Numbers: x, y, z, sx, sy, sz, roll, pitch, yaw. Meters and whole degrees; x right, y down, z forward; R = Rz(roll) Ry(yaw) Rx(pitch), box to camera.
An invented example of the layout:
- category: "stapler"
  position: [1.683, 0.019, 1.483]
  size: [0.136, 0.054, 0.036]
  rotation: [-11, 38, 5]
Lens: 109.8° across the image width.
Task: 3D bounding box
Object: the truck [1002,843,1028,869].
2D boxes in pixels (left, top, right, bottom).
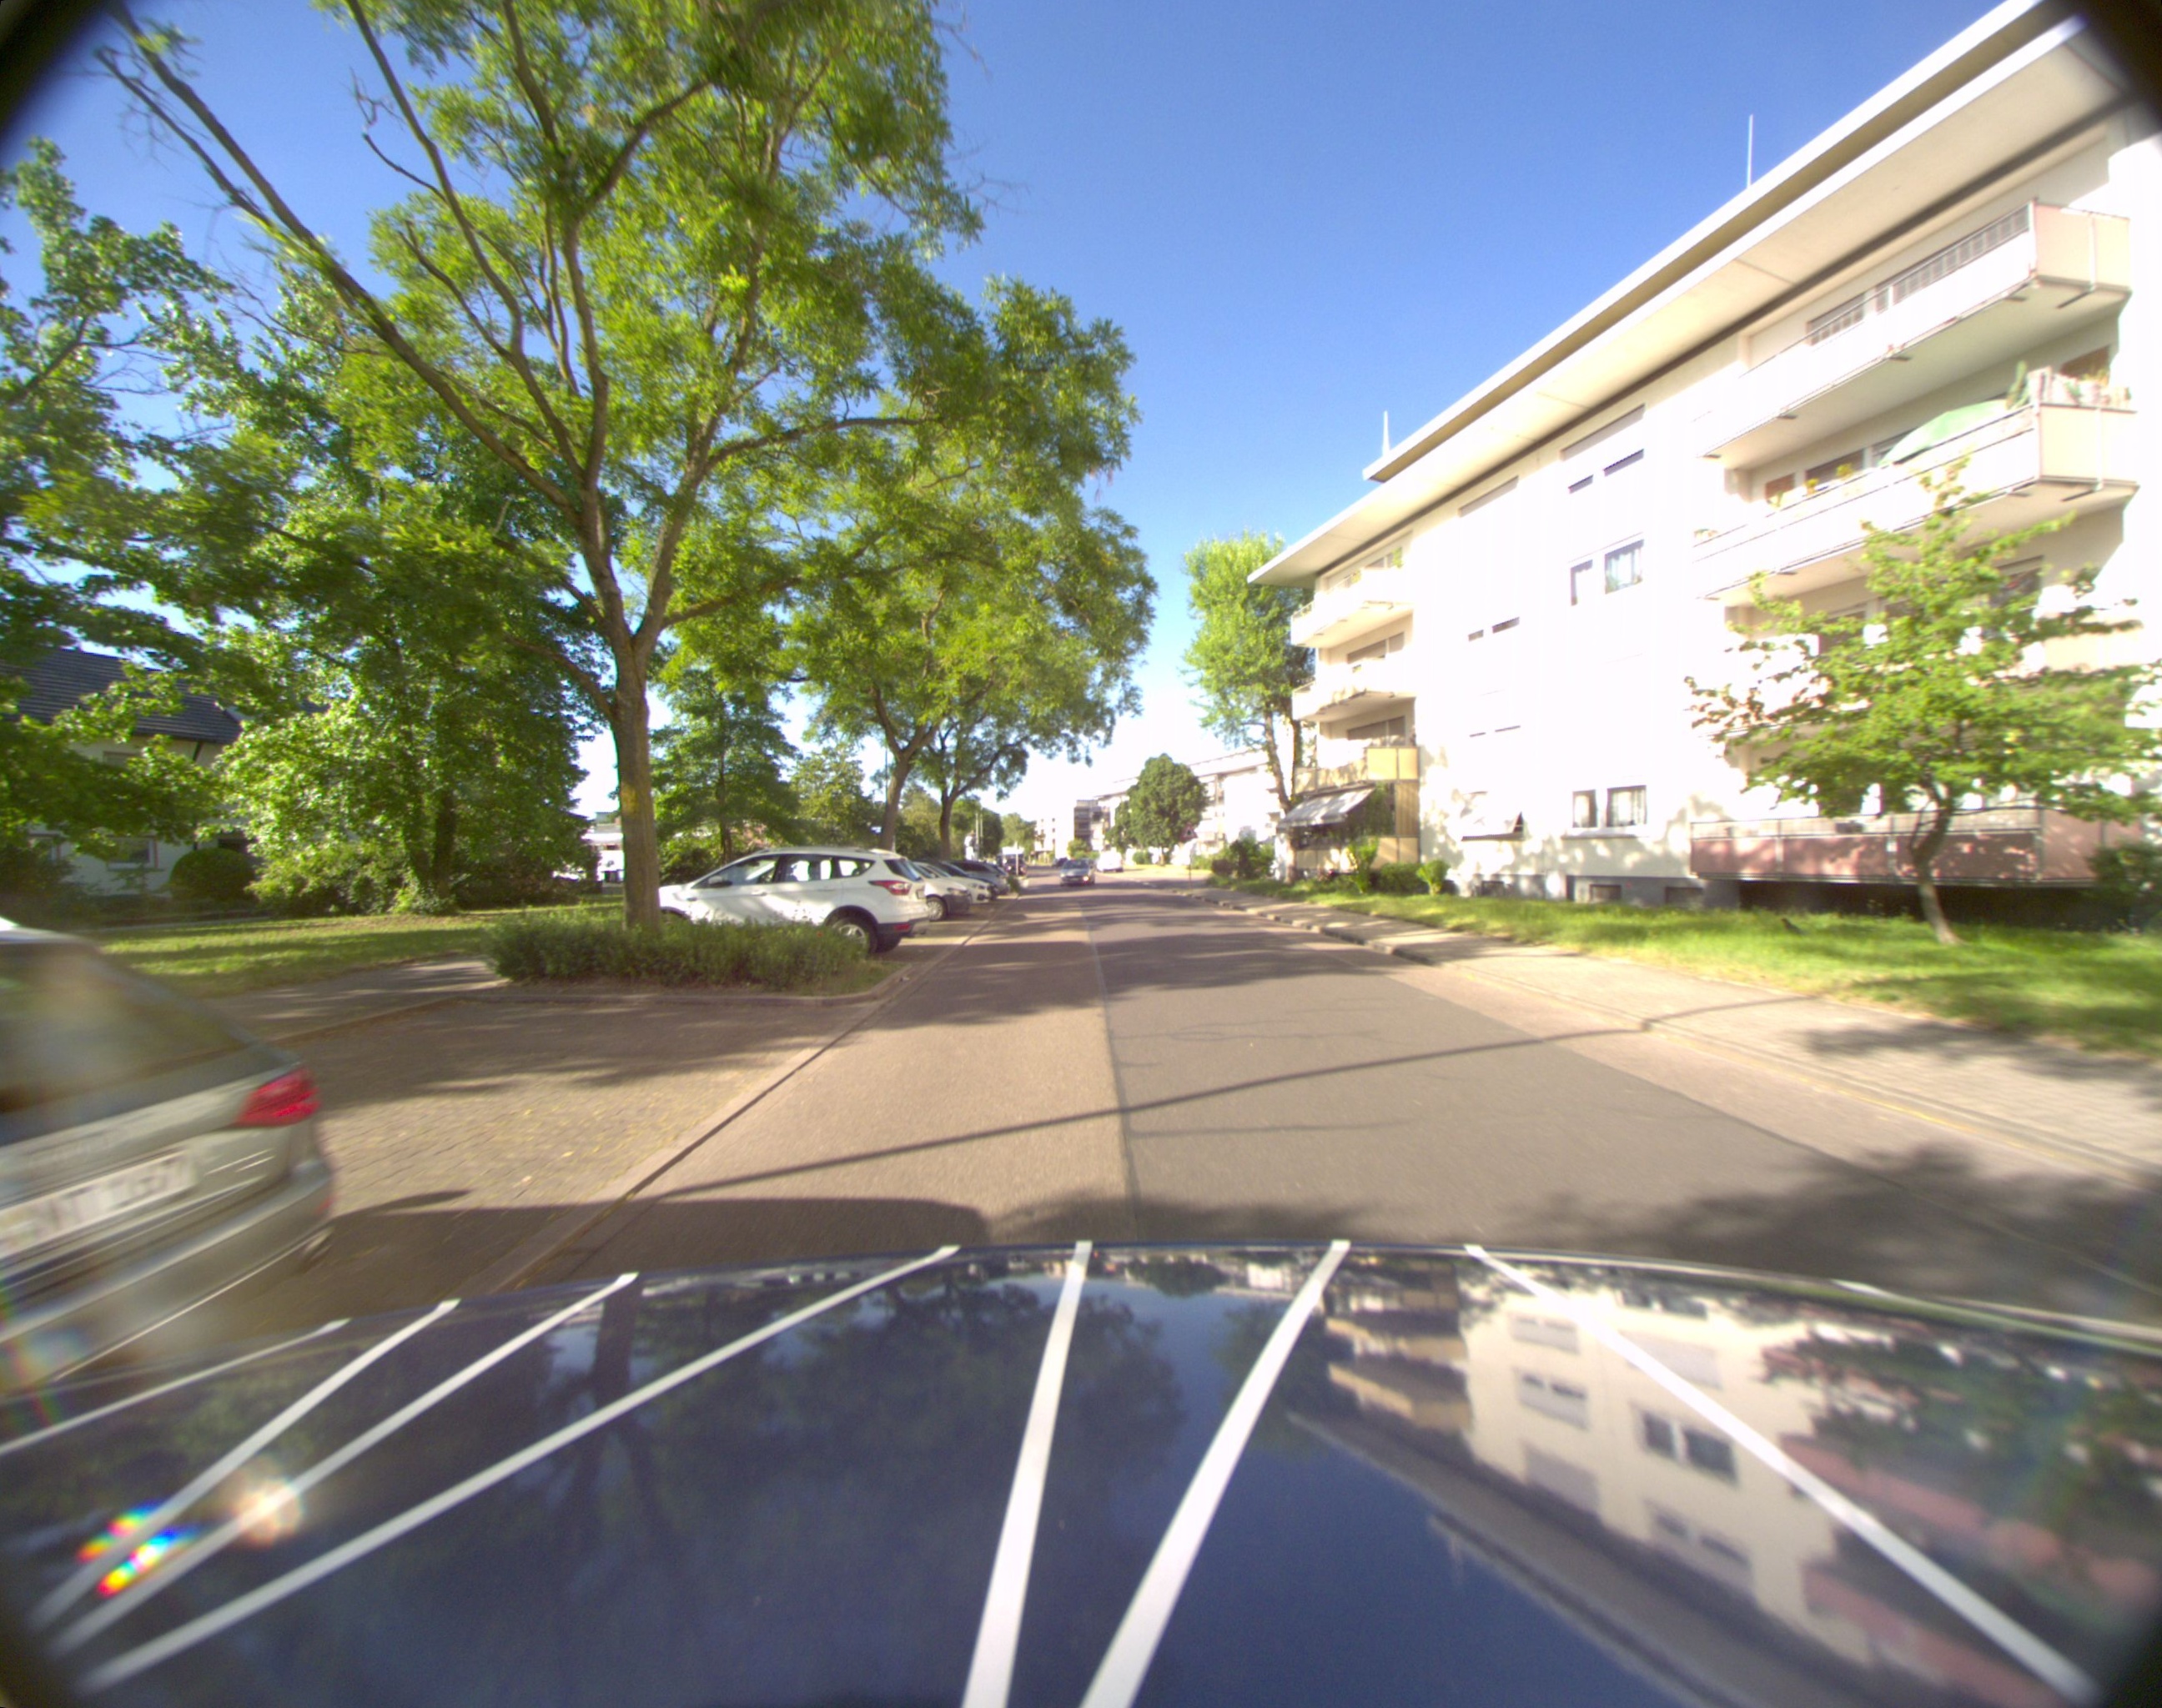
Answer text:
- category: "truck"
  position: [-7.350, 0.205, 85.788]
  size: [2.764, 2.785, 8.263]
  rotation: [1, 0, -4]

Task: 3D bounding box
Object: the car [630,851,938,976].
- category: "car"
  position: [-4.410, 0.847, 11.759]
  size: [4.052, 1.754, 1.745]
  rotation: [-1, 0, 0]

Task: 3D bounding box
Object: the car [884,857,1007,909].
- category: "car"
  position: [-4.721, 0.992, 26.930]
  size: [4.052, 1.649, 1.745]
  rotation: [-2, 1, -3]

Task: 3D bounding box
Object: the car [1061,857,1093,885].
- category: "car"
  position: [-0.161, 0.915, 42.250]
  size: [1.596, 1.417, 4.171]
  rotation: [2, 0, 2]

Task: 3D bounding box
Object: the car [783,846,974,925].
- category: "car"
  position: [-5.005, 0.757, 19.311]
  size: [4.446, 1.910, 1.744]
  rotation: [0, 1, -5]

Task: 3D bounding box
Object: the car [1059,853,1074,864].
- category: "car"
  position: [-2.266, 0.692, 120.022]
  size: [1.795, 1.535, 4.049]
  rotation: [-4, 1, -9]

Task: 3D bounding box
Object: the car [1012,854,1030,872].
- category: "car"
  position: [-5.956, 0.869, 75.511]
  size: [1.694, 1.618, 4.050]
  rotation: [1, 0, -4]

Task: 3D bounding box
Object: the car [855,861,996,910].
- category: "car"
  position: [-4.848, 0.986, 24.109]
  size: [4.150, 1.400, 1.745]
  rotation: [1, 0, -3]

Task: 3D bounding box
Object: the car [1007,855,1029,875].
- category: "car"
  position: [-5.415, 0.919, 65.912]
  size: [1.774, 1.606, 4.050]
  rotation: [1, 0, -4]

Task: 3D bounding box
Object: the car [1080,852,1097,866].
- category: "car"
  position: [0.920, 0.558, 91.292]
  size: [1.694, 1.661, 4.050]
  rotation: [-2, 0, -4]

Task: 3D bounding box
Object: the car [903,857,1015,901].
- category: "car"
  position: [-4.640, 0.951, 29.382]
  size: [4.052, 1.544, 1.745]
  rotation: [1, 0, -2]

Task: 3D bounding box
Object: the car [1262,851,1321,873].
- category: "car"
  position: [14.378, 0.550, 52.049]
  size: [3.725, 1.417, 1.534]
  rotation: [-1, 0, 6]

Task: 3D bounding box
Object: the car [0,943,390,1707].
- category: "car"
  position: [-4.456, 1.023, 1.528]
  size: [4.491, 1.463, 1.745]
  rotation: [0, 0, -1]

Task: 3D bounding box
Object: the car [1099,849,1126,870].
- category: "car"
  position: [2.963, 0.471, 72.470]
  size: [2.007, 1.837, 4.614]
  rotation: [-3, 0, -3]
